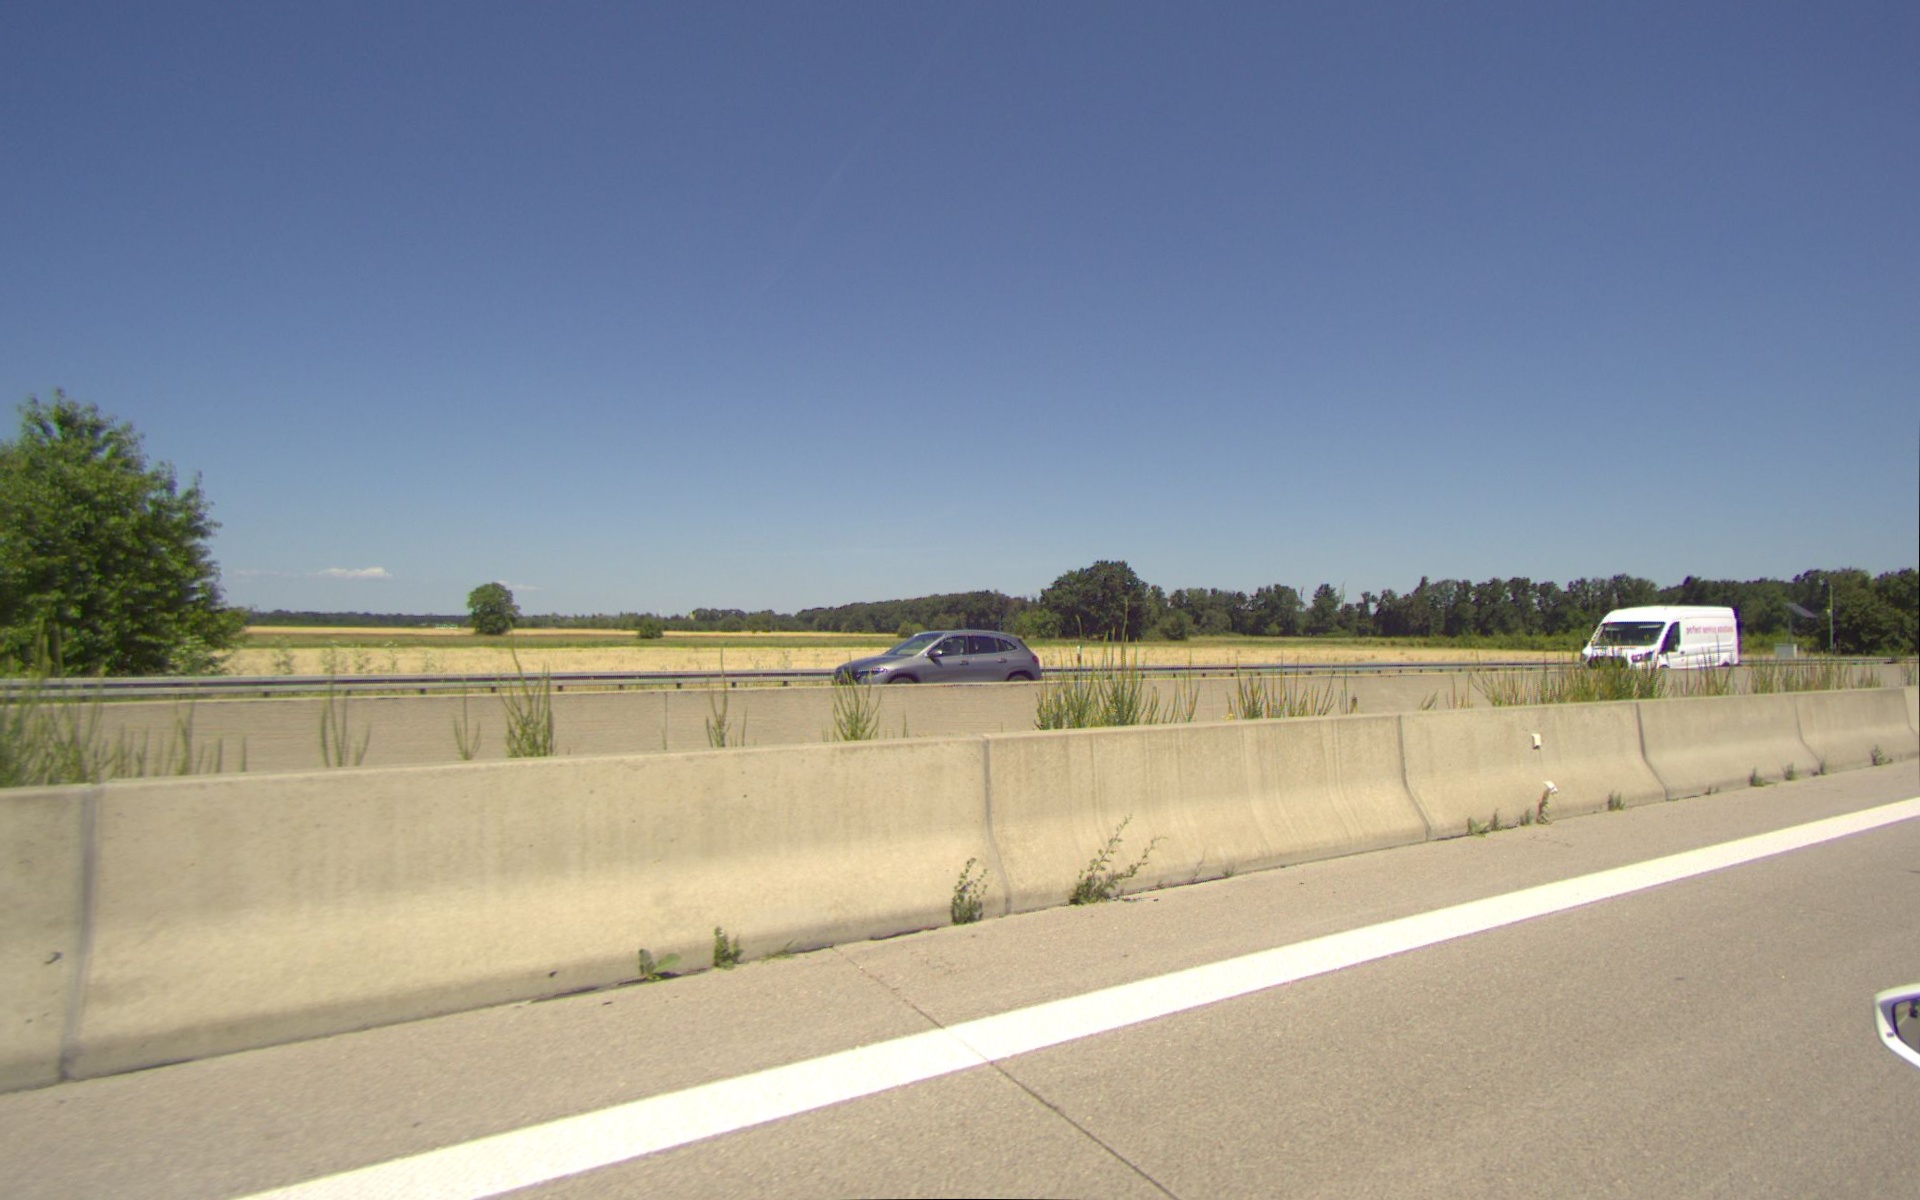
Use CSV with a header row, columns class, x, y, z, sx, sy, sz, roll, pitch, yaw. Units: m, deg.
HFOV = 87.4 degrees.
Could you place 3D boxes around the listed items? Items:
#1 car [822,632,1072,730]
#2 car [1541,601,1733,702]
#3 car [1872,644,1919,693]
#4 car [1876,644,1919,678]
class,x,y,z,sx,sy,sz,roll,pitch,yaw
car,-0.206,1.549,20.162,4.785,1.706,1.745,2,0,-31
car,18.994,1.385,28.088,6.057,2.553,2.200,2,0,-32
car,34.622,2.417,35.694,4.534,1.639,1.984,2,0,-30
car,55.334,3.508,58.553,3.958,1.806,1.981,2,0,-34
